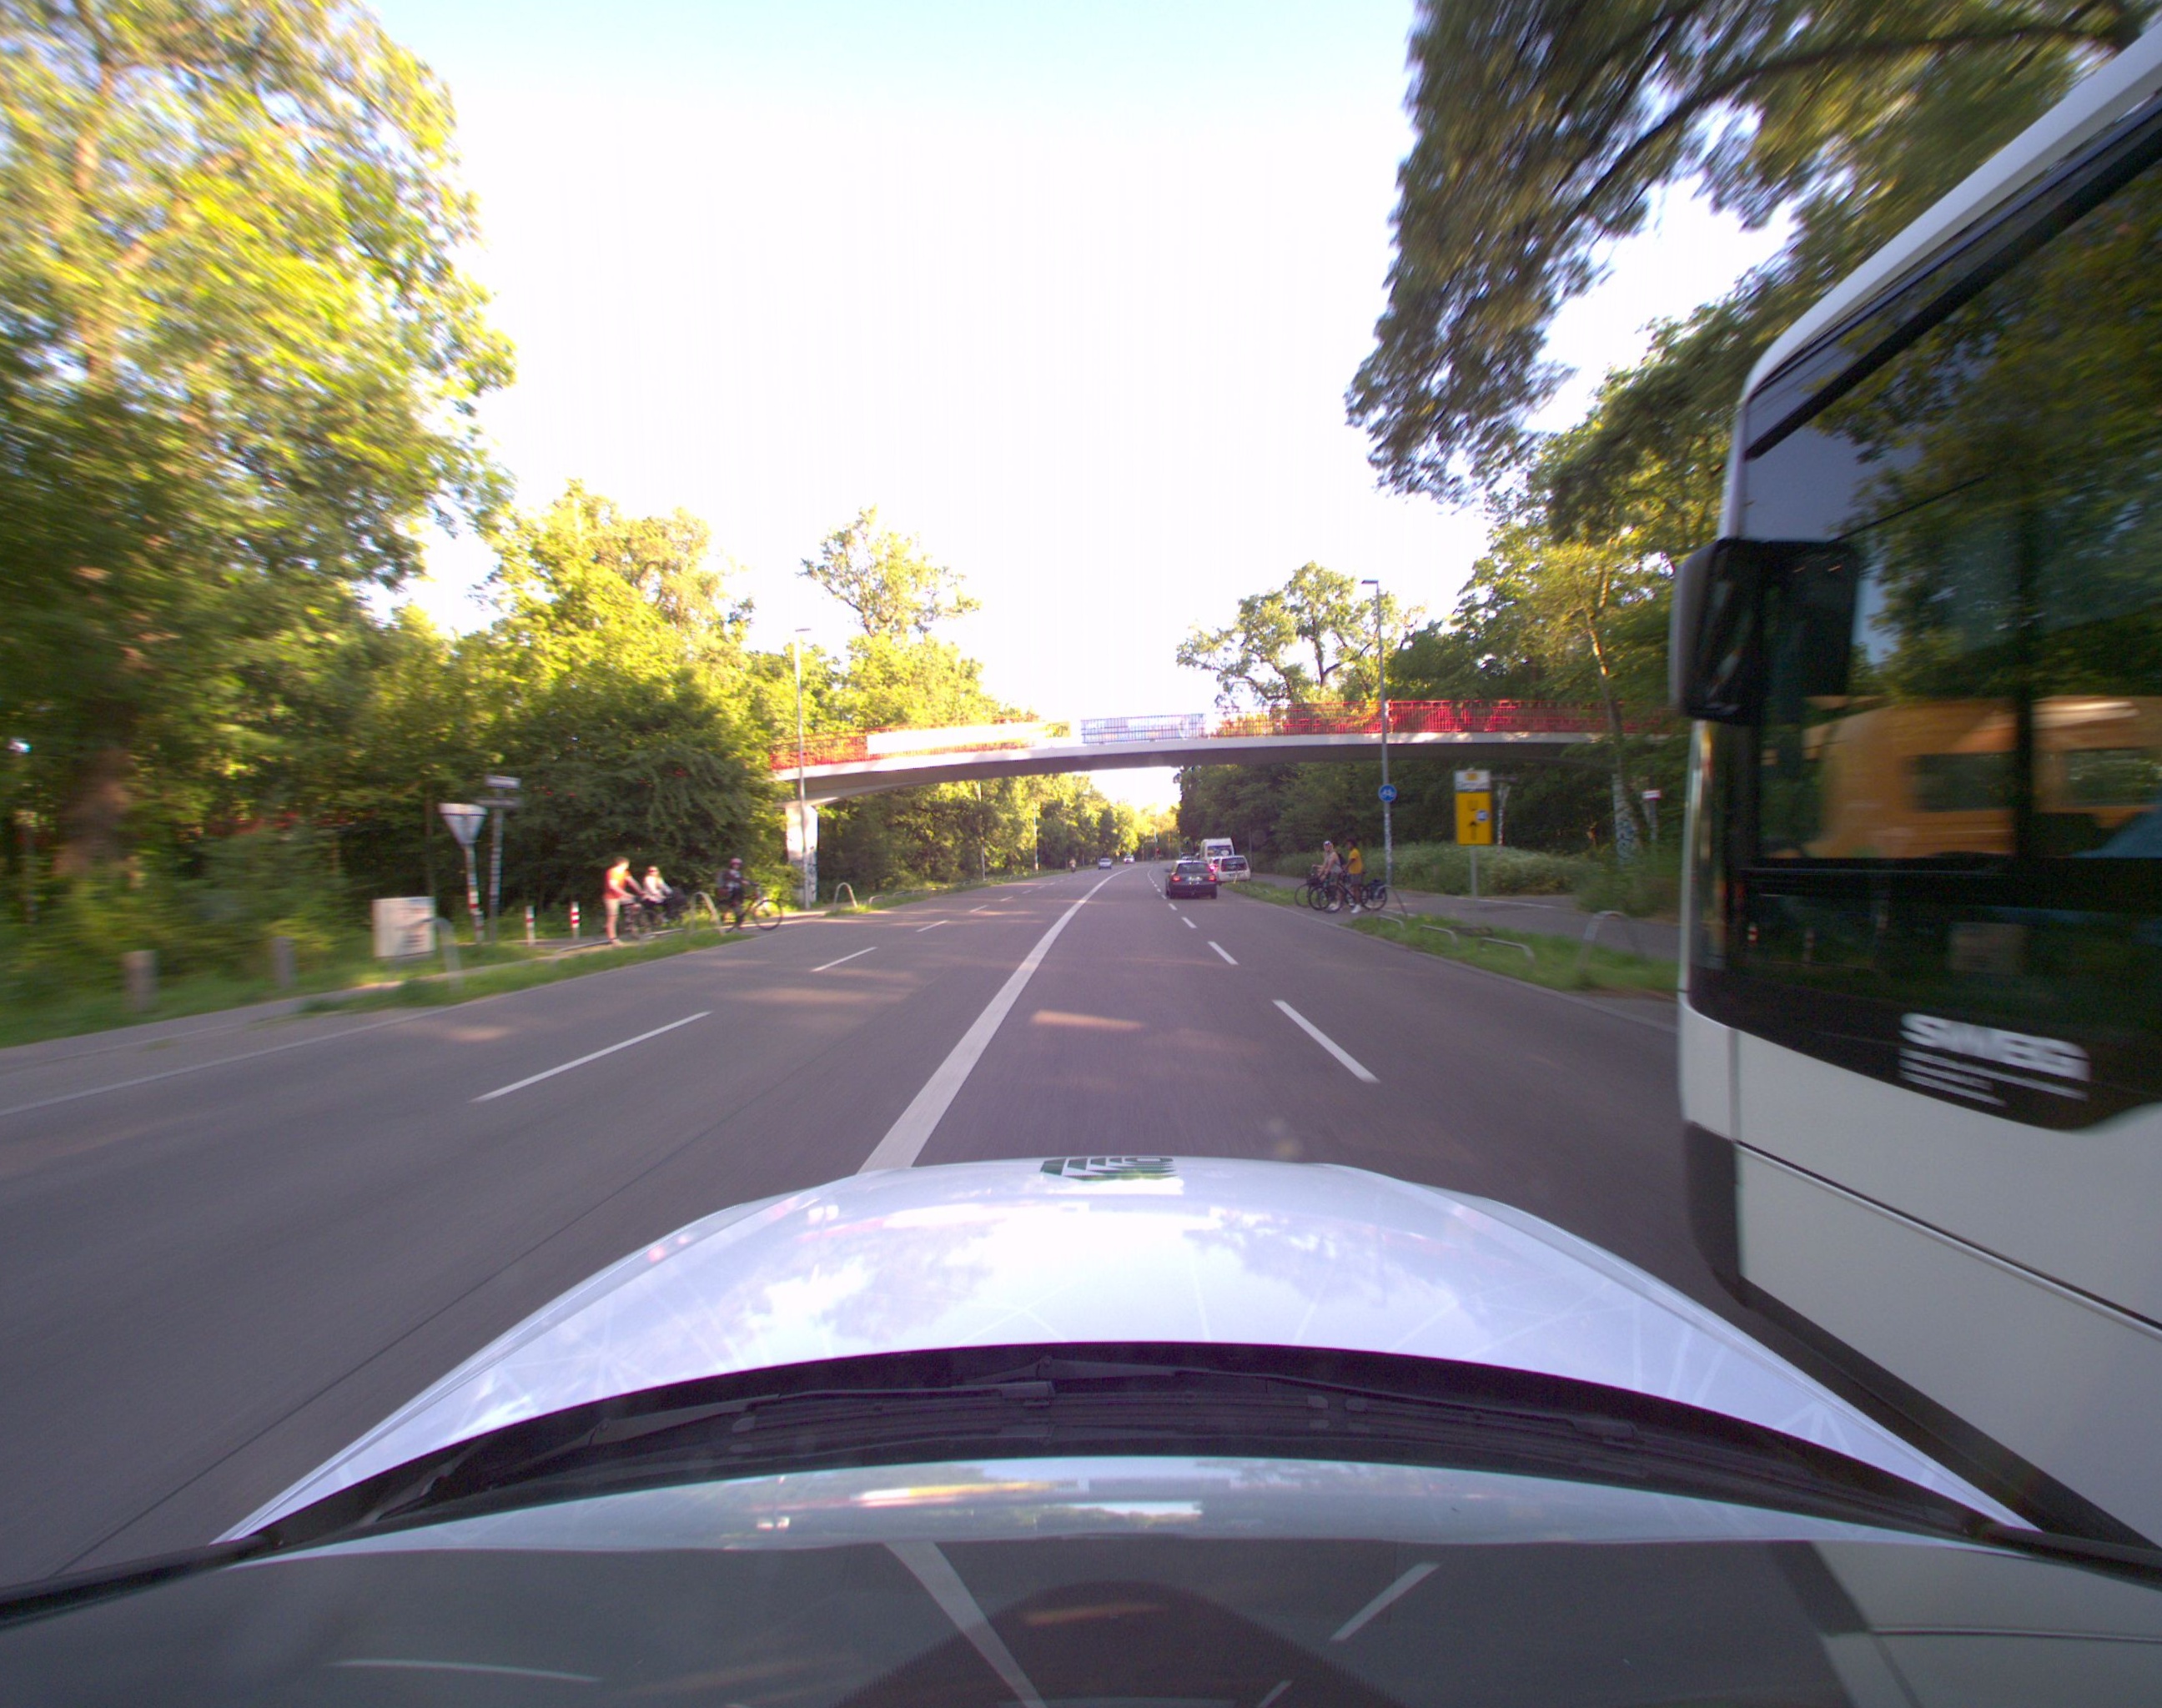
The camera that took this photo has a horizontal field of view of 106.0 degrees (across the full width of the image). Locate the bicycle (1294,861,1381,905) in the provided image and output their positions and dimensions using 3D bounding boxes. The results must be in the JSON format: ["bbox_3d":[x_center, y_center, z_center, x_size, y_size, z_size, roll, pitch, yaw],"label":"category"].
[{"bbox_3d":[6.879,0.772,21.907,2.056,1.068,0.870,-2,0,-2],"label":"bicycle"}]

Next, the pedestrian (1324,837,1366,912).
[{"bbox_3d":[6.785,0.509,20.961,0.697,1.852,0.938,-2,0,-2],"label":"pedestrian"}]

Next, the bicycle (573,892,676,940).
[{"bbox_3d":[-10.252,1.388,18.316,1.914,0.934,0.827,-3,0,11],"label":"bicycle"}]

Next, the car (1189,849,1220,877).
[{"bbox_3d":[9.162,0.647,60.753,1.821,1.868,5.080,-2,0,4],"label":"car"}]

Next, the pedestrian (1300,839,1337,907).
[{"bbox_3d":[6.718,0.523,23.058,0.697,1.852,0.938,-2,0,-2],"label":"pedestrian"}]

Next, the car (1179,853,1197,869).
[{"bbox_3d":[10.993,0.676,83.932,1.719,1.544,4.224,-2,0,6],"label":"car"}]

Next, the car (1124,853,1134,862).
[{"bbox_3d":[11.303,0.849,191.395,1.984,1.992,5.005,-2,0,5],"label":"car"}]

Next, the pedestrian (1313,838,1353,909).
[{"bbox_3d":[6.782,0.517,21.944,0.697,1.852,0.938,-2,0,-2],"label":"pedestrian"}]

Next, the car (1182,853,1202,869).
[{"bbox_3d":[10.701,0.684,78.696,1.719,1.441,4.107,-2,0,6],"label":"car"}]

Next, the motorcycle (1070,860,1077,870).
[{"bbox_3d":[-0.804,1.201,87.671,0.634,0.995,2.079,-1,0,4],"label":"motorcycle"}]

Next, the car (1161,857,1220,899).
[{"bbox_3d":[4.051,0.837,30.587,1.721,1.441,4.091,-1,0,1],"label":"car"}]

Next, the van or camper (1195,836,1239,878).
[{"bbox_3d":[8.867,0.177,53.433,2.110,2.517,5.985,-2,0,3],"label":"van or camper"}]

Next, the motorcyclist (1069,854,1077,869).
[{"bbox_3d":[-0.845,0.813,87.642,0.721,1.505,0.672,-2,-1,3],"label":"motorcyclist"}]

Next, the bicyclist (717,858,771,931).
[{"bbox_3d":[-7.825,0.921,18.938,0.790,1.643,0.844,-2,0,11],"label":"bicyclist"}]

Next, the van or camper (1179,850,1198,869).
[{"bbox_3d":[11.821,0.560,89.780,1.883,1.948,5.143,-4,-1,6],"label":"van or camper"}]

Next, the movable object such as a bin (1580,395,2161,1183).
[{"bbox_3d":[6.007,-0.305,3.535,2.751,3.370,7.594,-2,0,-2],"label":"movable object such as a bin"}]

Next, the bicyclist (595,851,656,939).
[{"bbox_3d":[-10.229,0.905,18.320,0.790,1.901,0.820,-2,0,11],"label":"bicyclist"}]

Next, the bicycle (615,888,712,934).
[{"bbox_3d":[-10.031,1.369,19.594,1.914,0.934,0.827,-4,-1,11],"label":"bicycle"}]

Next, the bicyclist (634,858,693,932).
[{"bbox_3d":[-10.019,0.964,19.586,0.790,1.697,0.948,-2,0,11],"label":"bicyclist"}]

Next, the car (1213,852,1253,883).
[{"bbox_3d":[7.869,0.679,42.383,1.714,1.496,3.781,-2,0,6],"label":"car"}]

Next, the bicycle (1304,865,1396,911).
[{"bbox_3d":[6.904,0.862,20.949,2.056,1.068,0.870,-2,0,-2],"label":"bicycle"}]

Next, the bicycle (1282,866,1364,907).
[{"bbox_3d":[6.830,0.902,23.048,2.056,1.068,0.870,-2,0,-2],"label":"bicycle"}]

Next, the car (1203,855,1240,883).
[{"bbox_3d":[8.072,0.825,47.069,1.715,1.496,4.150,-2,0,4],"label":"car"}]

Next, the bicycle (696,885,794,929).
[{"bbox_3d":[-7.800,1.232,18.933,1.914,0.934,0.827,-2,0,11],"label":"bicycle"}]
